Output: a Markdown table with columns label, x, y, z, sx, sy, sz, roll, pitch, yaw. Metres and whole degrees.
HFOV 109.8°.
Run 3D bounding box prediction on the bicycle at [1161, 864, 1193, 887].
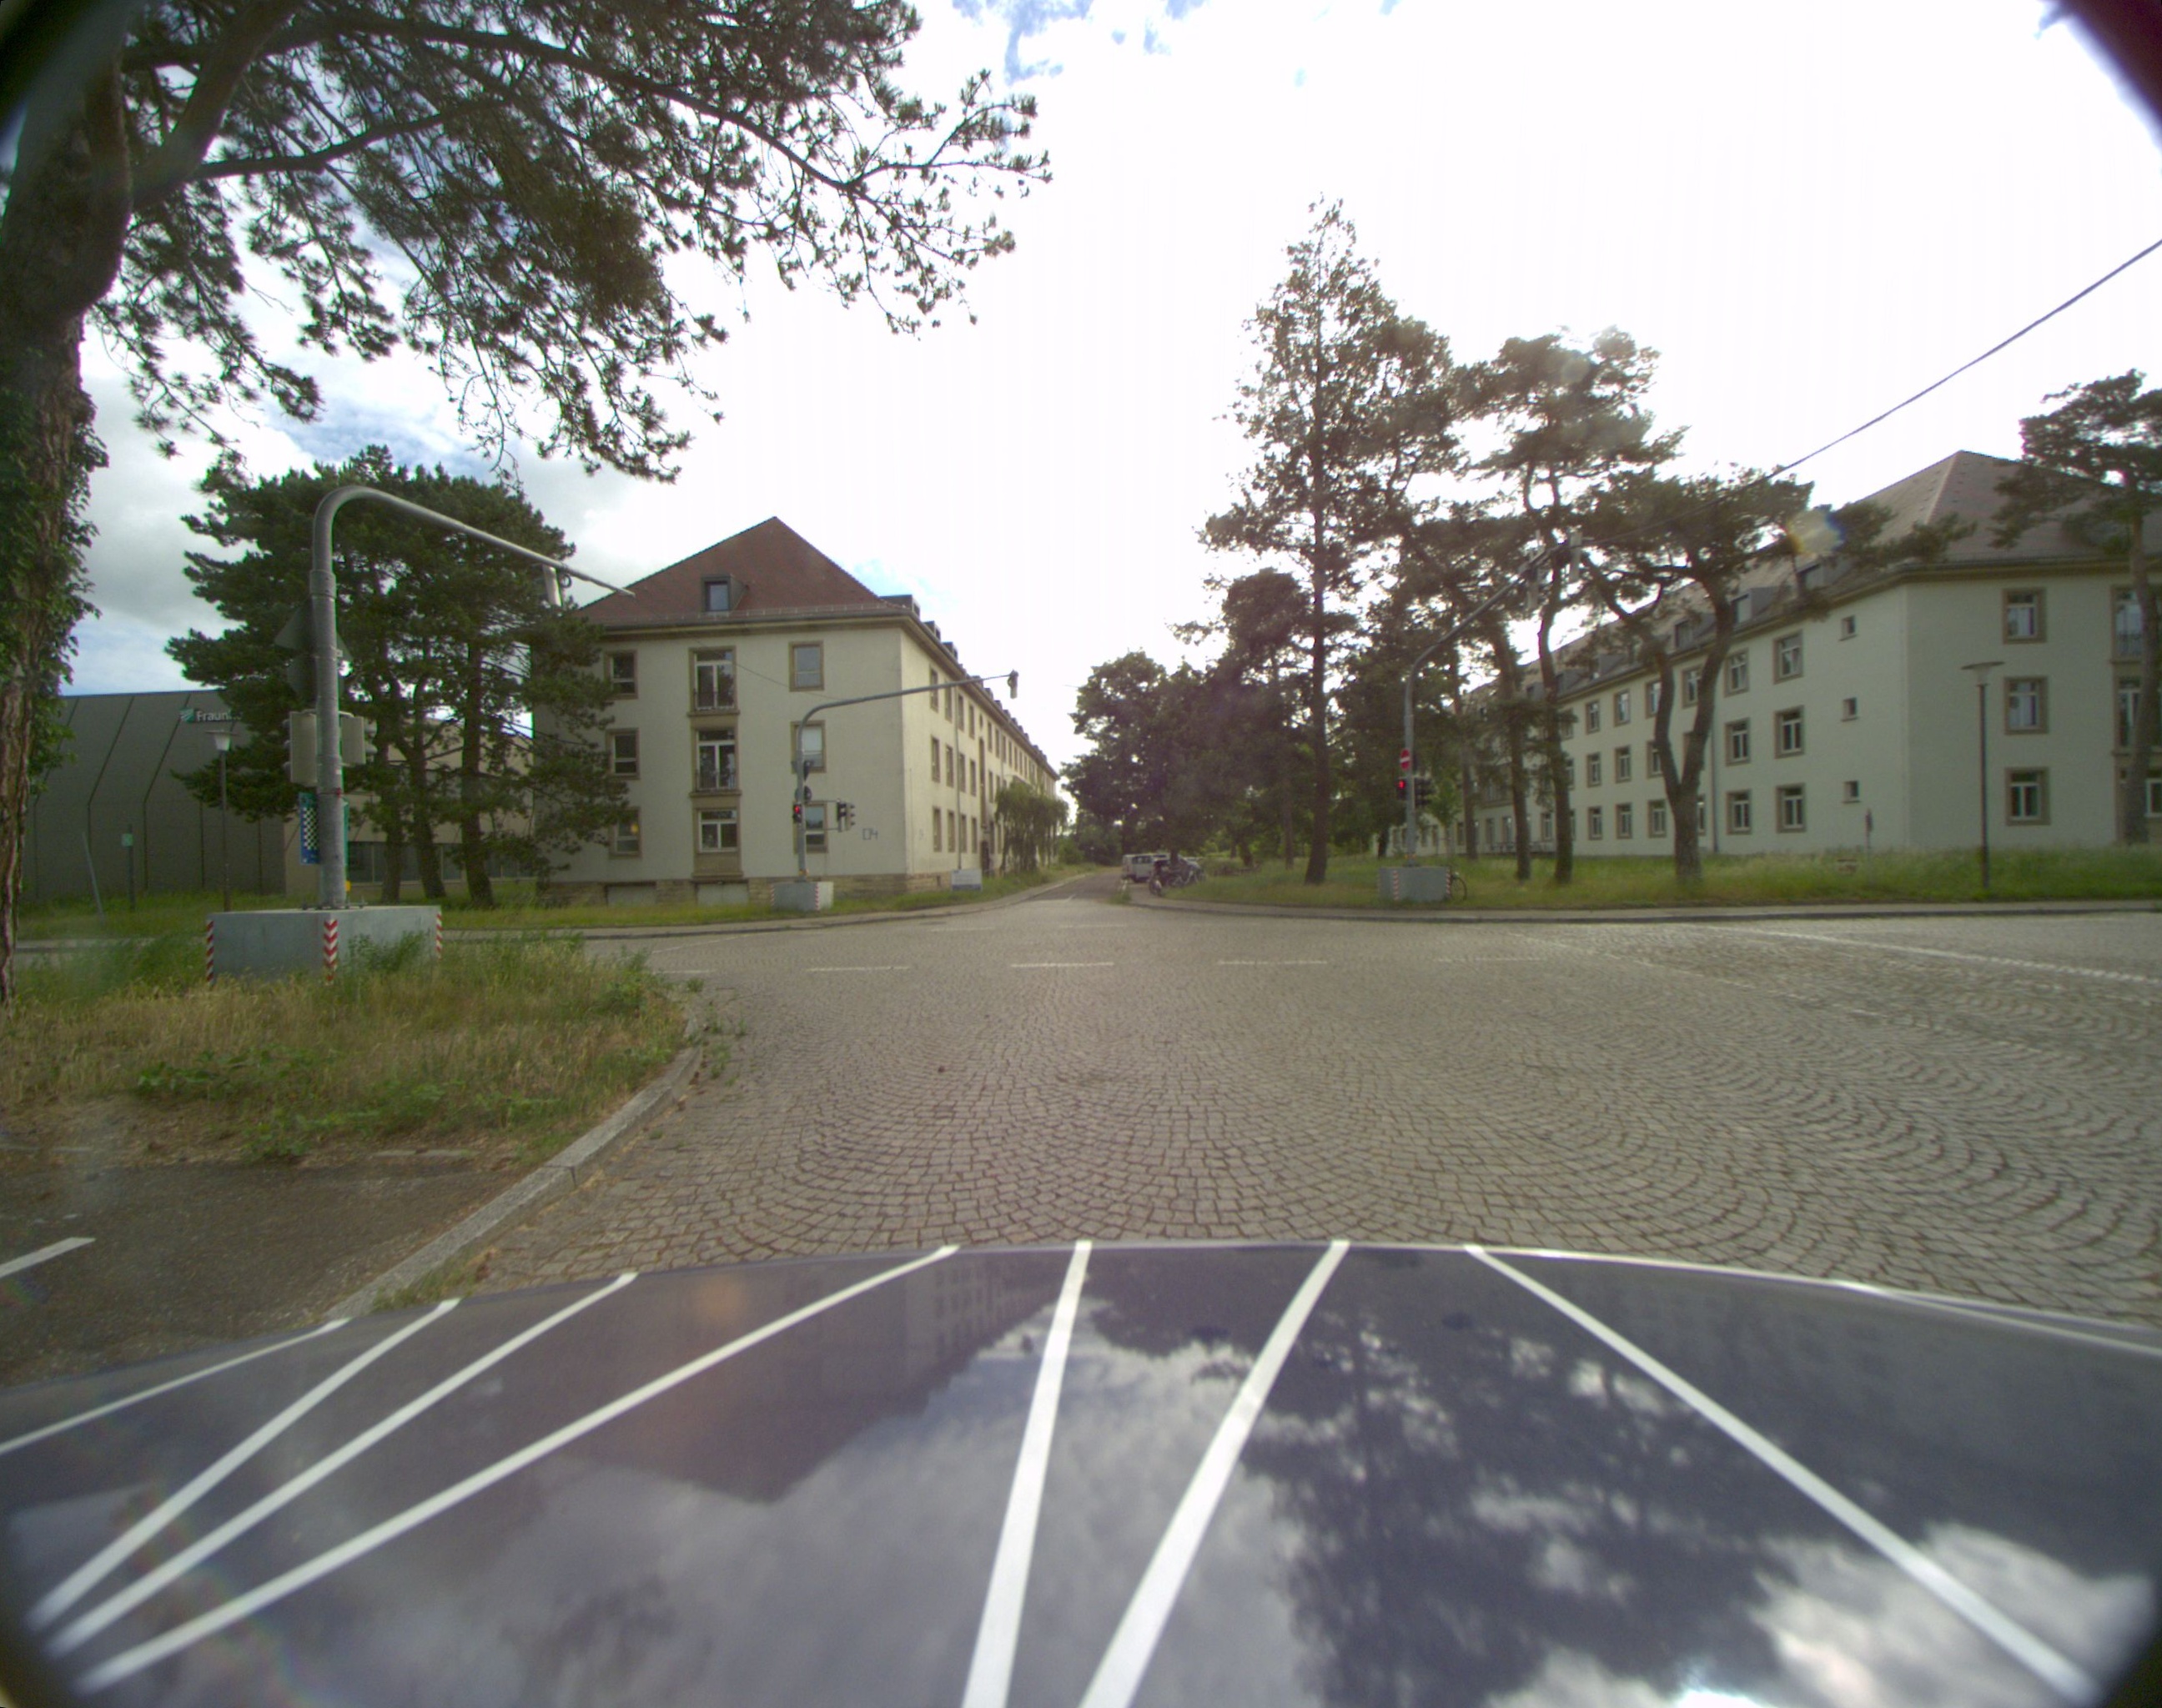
| label | x | y | z | sx | sy | sz | roll | pitch | yaw |
| --- | --- | --- | --- | --- | --- | --- | --- | --- | --- |
| bicycle | 4.777 | 1.058 | 37.709 | 1.456 | 1.032 | 0.498 | -4 | 1 | -1 |

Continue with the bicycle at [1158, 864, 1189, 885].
| label | x | y | z | sx | sy | sz | roll | pitch | yaw |
| --- | --- | --- | --- | --- | --- | --- | --- | --- | --- |
| bicycle | 4.828 | 1.068 | 39.724 | 1.456 | 1.032 | 0.498 | -4 | 1 | -1 |

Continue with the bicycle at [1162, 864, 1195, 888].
| label | x | y | z | sx | sy | sz | roll | pitch | yaw |
| --- | --- | --- | --- | --- | --- | --- | --- | --- | --- |
| bicycle | 4.642 | 1.047 | 36.121 | 1.456 | 1.032 | 0.498 | -4 | 1 | -1 |

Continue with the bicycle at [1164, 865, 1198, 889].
| label | x | y | z | sx | sy | sz | roll | pitch | yaw |
| --- | --- | --- | --- | --- | --- | --- | --- | --- | --- |
| bicycle | 4.666 | 1.063 | 35.427 | 1.456 | 1.032 | 0.498 | -4 | 1 | -1 |

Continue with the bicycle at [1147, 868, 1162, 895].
| label | x | y | z | sx | sy | sz | roll | pitch | yaw |
| --- | --- | --- | --- | --- | --- | --- | --- | --- | --- |
| bicycle | 3.066 | 1.126 | 31.717 | 0.497 | 1.032 | 1.417 | -4 | 0 | 3 |

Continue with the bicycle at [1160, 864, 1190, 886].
| label | x | y | z | sx | sy | sz | roll | pitch | yaw |
| --- | --- | --- | --- | --- | --- | --- | --- | --- | --- |
| bicycle | 4.851 | 1.063 | 39.247 | 1.456 | 1.032 | 0.498 | -4 | 1 | -1 |

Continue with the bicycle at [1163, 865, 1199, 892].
| label | x | y | z | sx | sy | sz | roll | pitch | yaw |
| --- | --- | --- | --- | --- | --- | --- | --- | --- | --- |
| bicycle | 4.344 | 1.060 | 33.027 | 1.456 | 1.032 | 0.497 | -4 | 1 | -4 |

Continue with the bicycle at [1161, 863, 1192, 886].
| label | x | y | z | sx | sy | sz | roll | pitch | yaw |
| --- | --- | --- | --- | --- | --- | --- | --- | --- | --- |
| bicycle | 4.864 | 1.050 | 38.723 | 1.456 | 1.032 | 0.498 | -4 | 1 | -1 |

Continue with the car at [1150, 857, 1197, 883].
| label | x | y | z | sx | sy | sz | roll | pitch | yaw |
| --- | --- | --- | --- | --- | --- | --- | --- | --- | --- |
| car | 5.771 | 0.979 | 47.740 | 2.771 | 1.407 | 1.592 | -4 | 0 | 3 |

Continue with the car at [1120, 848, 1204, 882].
| label | x | y | z | sx | sy | sz | roll | pitch | yaw |
| --- | --- | --- | --- | --- | --- | --- | --- | --- | --- |
| car | 5.416 | 0.718 | 51.109 | 5.171 | 1.905 | 2.034 | -3 | 0 | -10 |

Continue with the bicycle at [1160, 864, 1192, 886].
| label | x | y | z | sx | sy | sz | roll | pitch | yaw |
| --- | --- | --- | --- | --- | --- | --- | --- | --- | --- |
| bicycle | 4.769 | 1.051 | 38.201 | 1.456 | 1.032 | 0.498 | -4 | 1 | -1 |

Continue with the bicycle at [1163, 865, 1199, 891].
| label | x | y | z | sx | sy | sz | roll | pitch | yaw |
| --- | --- | --- | --- | --- | --- | --- | --- | --- | --- |
| bicycle | 4.459 | 1.071 | 33.817 | 1.456 | 1.032 | 0.498 | -4 | 1 | -1 |

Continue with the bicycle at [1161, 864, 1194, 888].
| label | x | y | z | sx | sy | sz | roll | pitch | yaw |
| --- | --- | --- | --- | --- | --- | --- | --- | --- | --- |
| bicycle | 4.642 | 1.075 | 36.590 | 1.456 | 1.032 | 0.498 | -4 | 1 | -1 |

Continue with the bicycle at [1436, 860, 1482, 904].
| label | x | y | z | sx | sy | sz | roll | pitch | yaw |
| --- | --- | --- | --- | --- | --- | --- | --- | --- | --- |
| bicycle | 10.077 | 0.729 | 20.300 | 0.497 | 1.068 | 1.416 | -4 | 0 | 1 |

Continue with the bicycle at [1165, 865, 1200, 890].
| label | x | y | z | sx | sy | sz | roll | pitch | yaw |
| --- | --- | --- | --- | --- | --- | --- | --- | --- | --- |
| bicycle | 4.656 | 1.071 | 34.841 | 1.456 | 1.032 | 0.498 | -4 | 1 | -1 |

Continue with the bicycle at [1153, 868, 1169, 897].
| label | x | y | z | sx | sy | sz | roll | pitch | yaw |
| --- | --- | --- | --- | --- | --- | --- | --- | --- | --- |
| bicycle | 3.146 | 1.127 | 30.103 | 0.497 | 1.068 | 1.417 | -4 | 0 | 3 |
